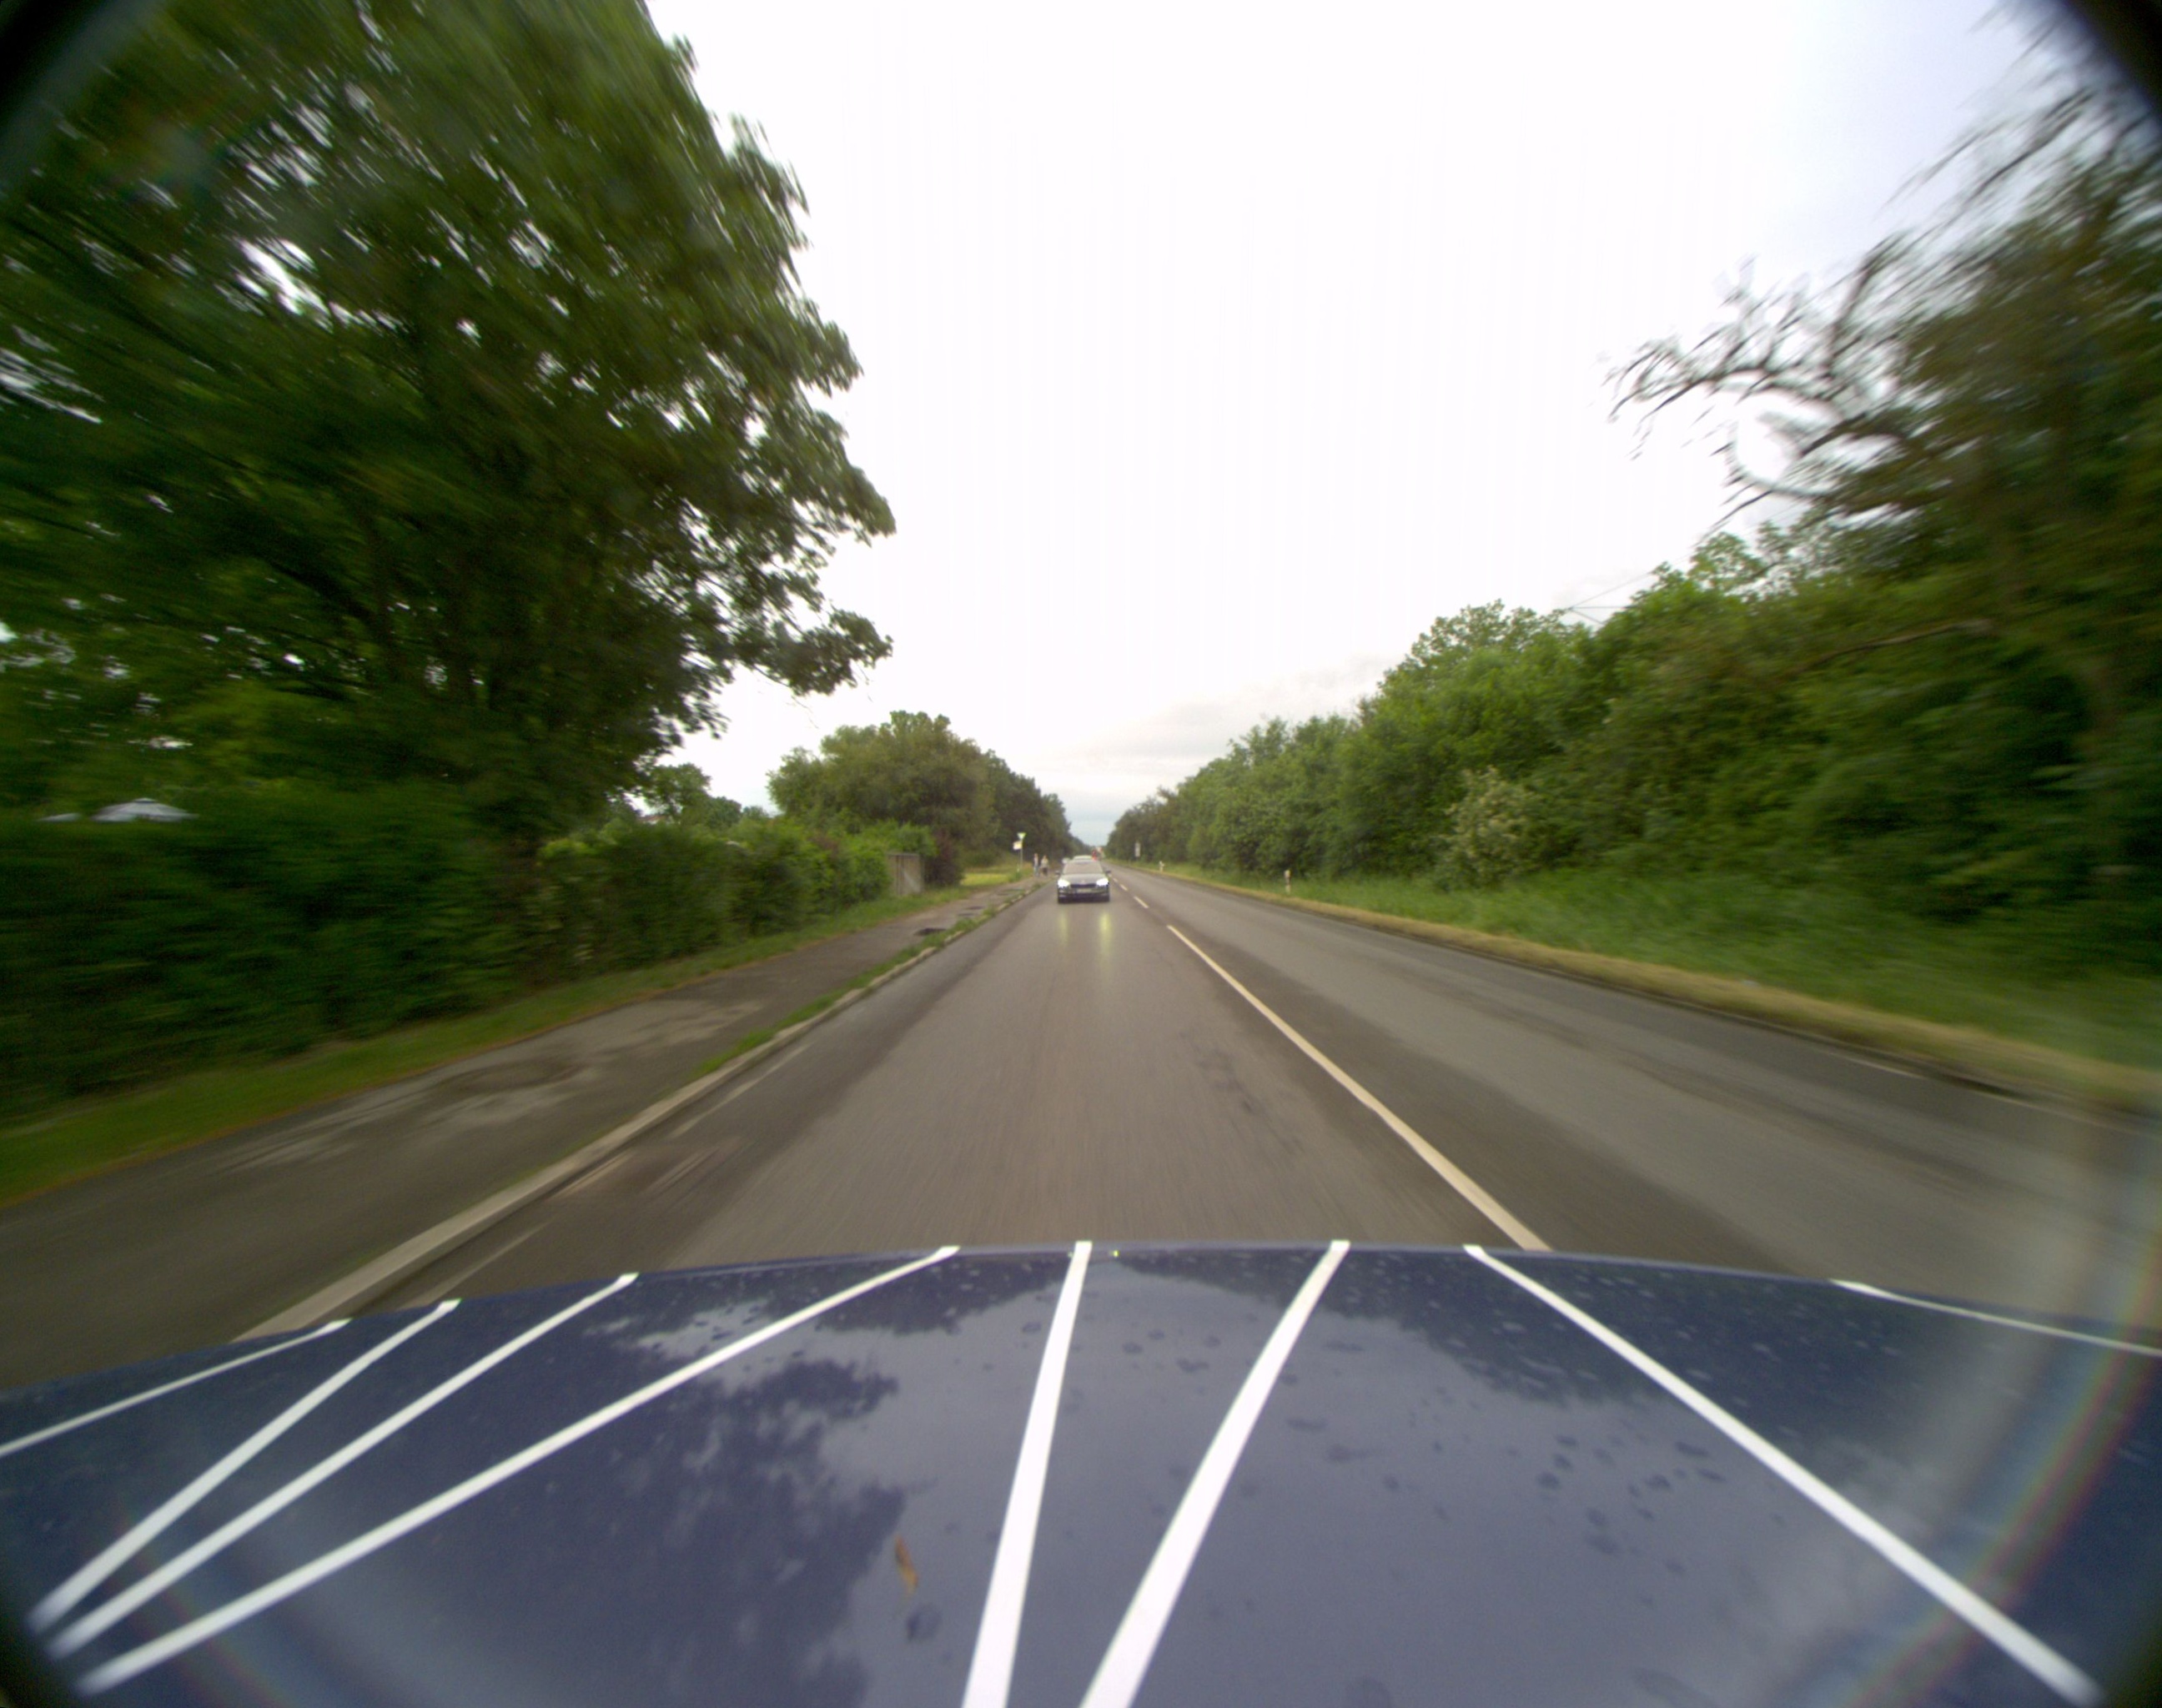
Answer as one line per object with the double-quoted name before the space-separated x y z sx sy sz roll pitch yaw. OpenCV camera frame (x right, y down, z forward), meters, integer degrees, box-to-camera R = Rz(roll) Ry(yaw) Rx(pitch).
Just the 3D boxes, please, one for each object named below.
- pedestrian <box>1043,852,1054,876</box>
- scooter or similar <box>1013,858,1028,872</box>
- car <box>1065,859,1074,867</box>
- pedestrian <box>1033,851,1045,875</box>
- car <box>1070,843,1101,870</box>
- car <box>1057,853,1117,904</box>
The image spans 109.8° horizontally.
"pedestrian" -2.480 0.738 57.725 0.663 1.768 0.759 -1 1 -16
"scooter or similar" -5.053 0.902 63.444 1.324 1.199 0.375 0 1 41
"car" -2.354 1.740 152.965 1.749 1.460 4.220 0 1 0
"pedestrian" -3.115 0.669 56.458 0.696 1.817 0.800 -1 1 -16
"car" 0.309 0.163 52.222 1.915 1.690 3.913 -3 1 0
"car" 0.220 0.814 27.292 1.915 1.543 4.354 -3 1 0
